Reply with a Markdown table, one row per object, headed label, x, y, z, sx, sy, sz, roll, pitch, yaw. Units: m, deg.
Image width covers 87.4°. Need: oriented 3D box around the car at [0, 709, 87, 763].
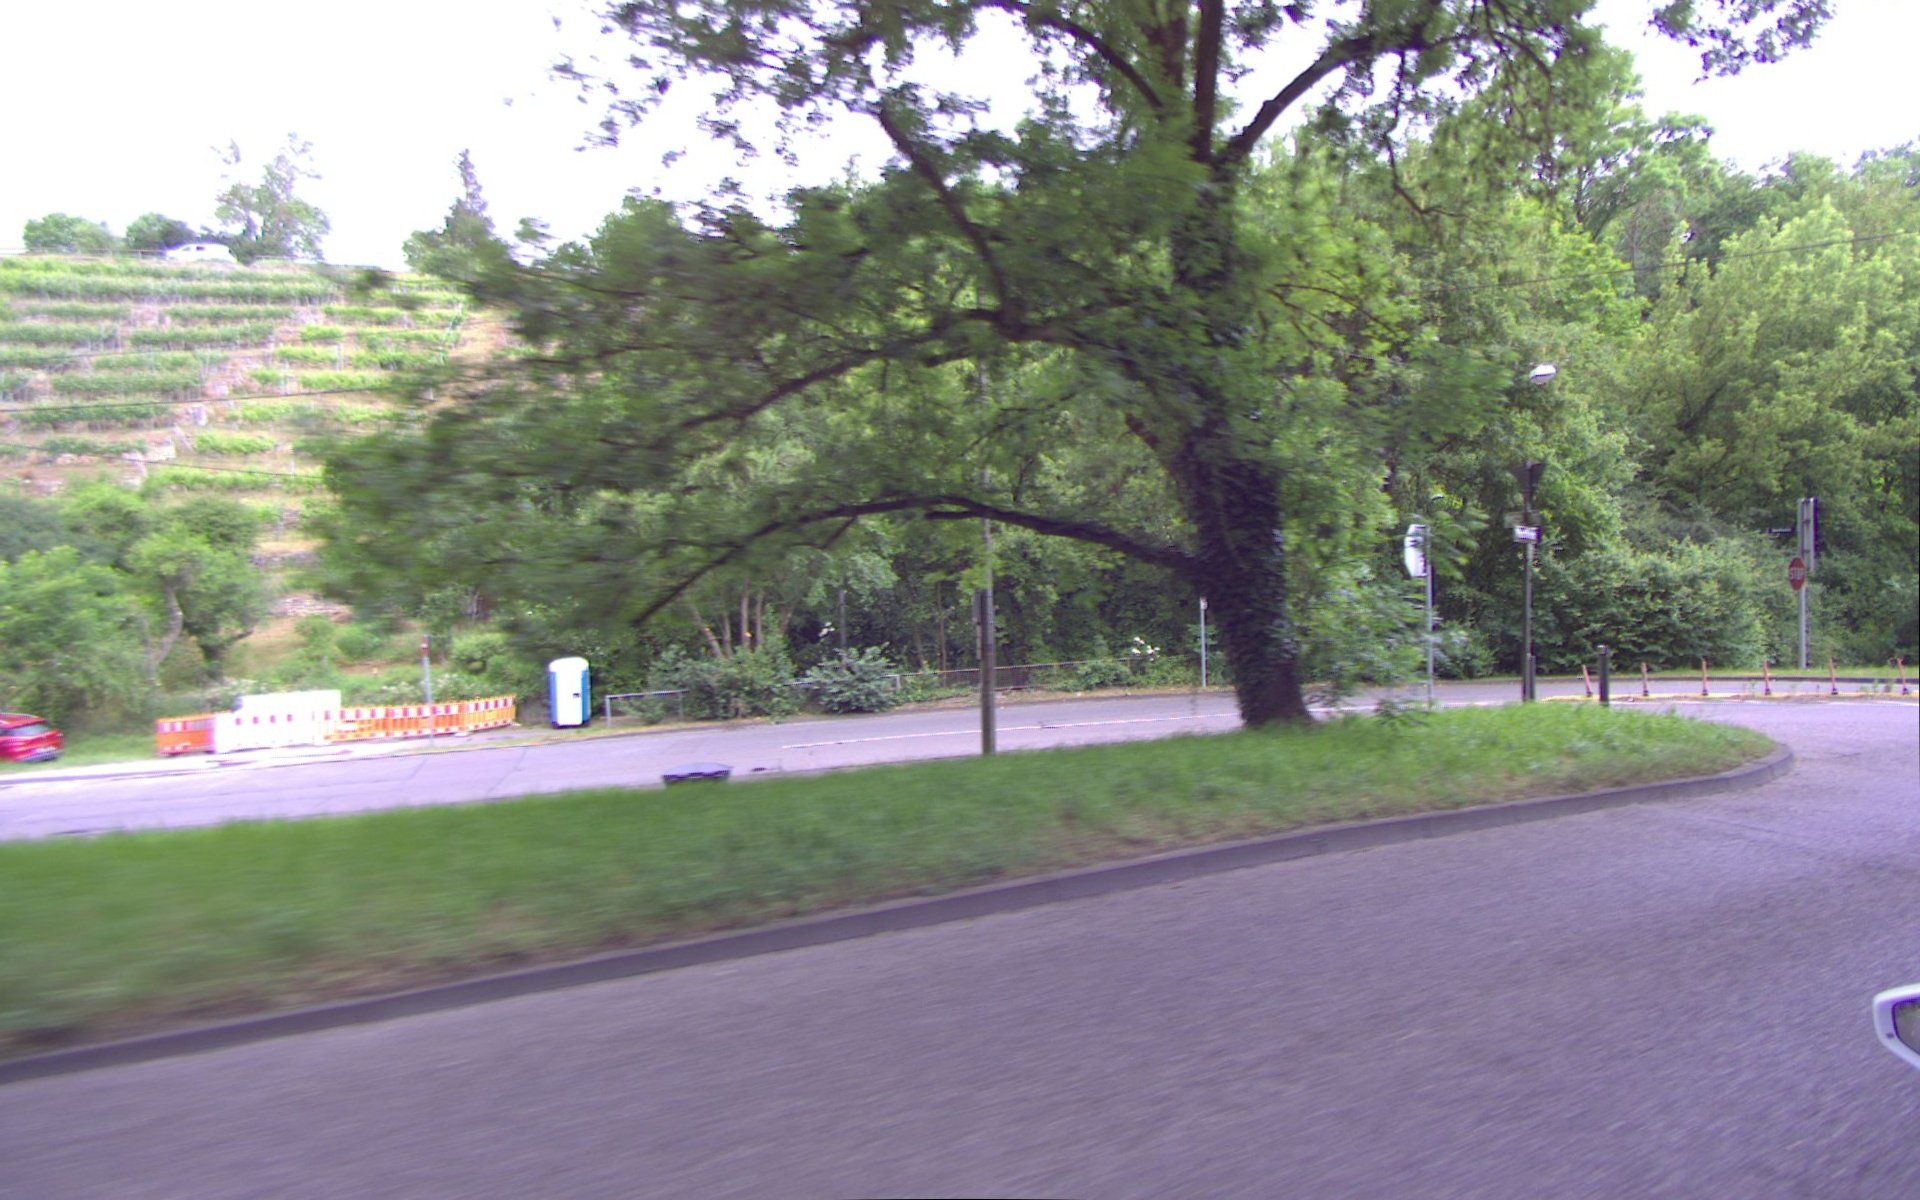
| label | x | y | z | sx | sy | sz | roll | pitch | yaw |
| --- | --- | --- | --- | --- | --- | --- | --- | --- | --- |
| car | -27.317 | 3.883 | 28.473 | 3.919 | 1.407 | 1.759 | -3 | -5 | 9 |
